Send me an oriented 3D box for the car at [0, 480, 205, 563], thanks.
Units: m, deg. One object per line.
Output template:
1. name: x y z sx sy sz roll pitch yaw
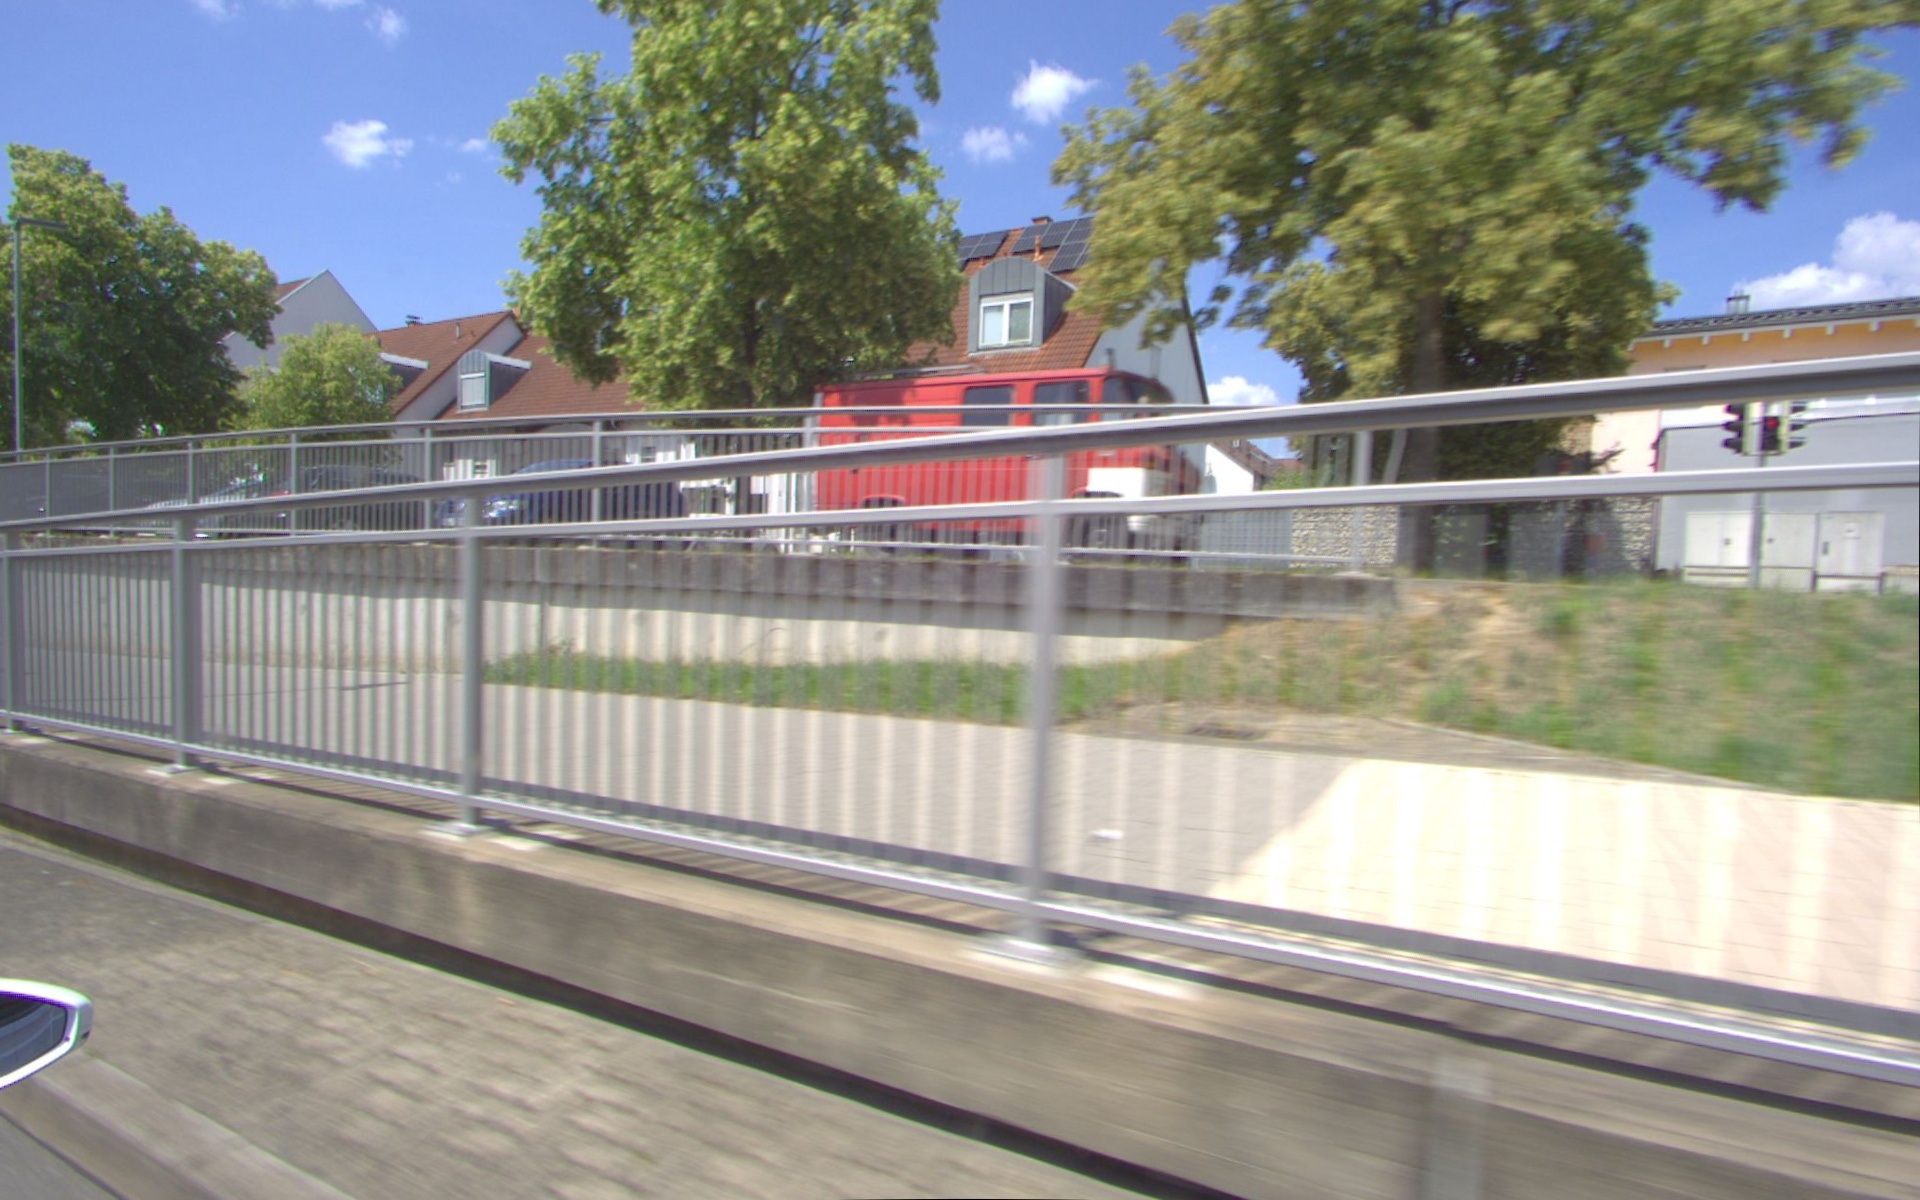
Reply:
1. car: -20.494 -1.767 23.631 1.701 1.576 3.977 0 -1 34

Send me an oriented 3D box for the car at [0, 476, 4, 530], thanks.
1. car: -34.000 -3.295 32.548 1.746 1.793 3.977 0 -1 34

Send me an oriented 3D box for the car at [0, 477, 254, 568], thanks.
1. car: -18.093 -1.595 21.930 1.701 1.576 3.977 0 -1 34

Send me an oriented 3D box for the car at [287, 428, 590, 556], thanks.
1. car: -8.102 -1.581 15.957 1.745 1.654 3.982 0 1 28

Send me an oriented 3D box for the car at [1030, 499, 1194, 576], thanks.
1. car: 3.490 -1.335 22.284 1.970 1.500 4.474 3 3 32

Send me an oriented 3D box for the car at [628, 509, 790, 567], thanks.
1. car: -7.227 -1.764 29.248 1.970 1.500 4.474 3 3 32

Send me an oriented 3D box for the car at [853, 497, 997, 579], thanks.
1. car: -0.801 -1.486 25.392 1.835 1.650 3.983 -1 -2 30

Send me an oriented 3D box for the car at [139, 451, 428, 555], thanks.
1. car: -12.026 -1.647 18.049 1.700 1.447 3.977 3 1 34

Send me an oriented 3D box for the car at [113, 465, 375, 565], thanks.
1. car: -14.270 -1.603 20.172 1.701 1.576 3.977 0 -1 34

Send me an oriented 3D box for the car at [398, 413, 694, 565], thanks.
1. car: -6.000 -1.500 15.043 1.832 1.650 3.991 0 -2 22

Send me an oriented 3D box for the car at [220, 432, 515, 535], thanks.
1. car: -9.936 -1.883 17.110 1.747 1.324 3.978 0 1 32

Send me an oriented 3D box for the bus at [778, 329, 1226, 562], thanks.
1. bus: 0.436 -1.798 12.825 5.282 2.400 2.184 4 3 30
